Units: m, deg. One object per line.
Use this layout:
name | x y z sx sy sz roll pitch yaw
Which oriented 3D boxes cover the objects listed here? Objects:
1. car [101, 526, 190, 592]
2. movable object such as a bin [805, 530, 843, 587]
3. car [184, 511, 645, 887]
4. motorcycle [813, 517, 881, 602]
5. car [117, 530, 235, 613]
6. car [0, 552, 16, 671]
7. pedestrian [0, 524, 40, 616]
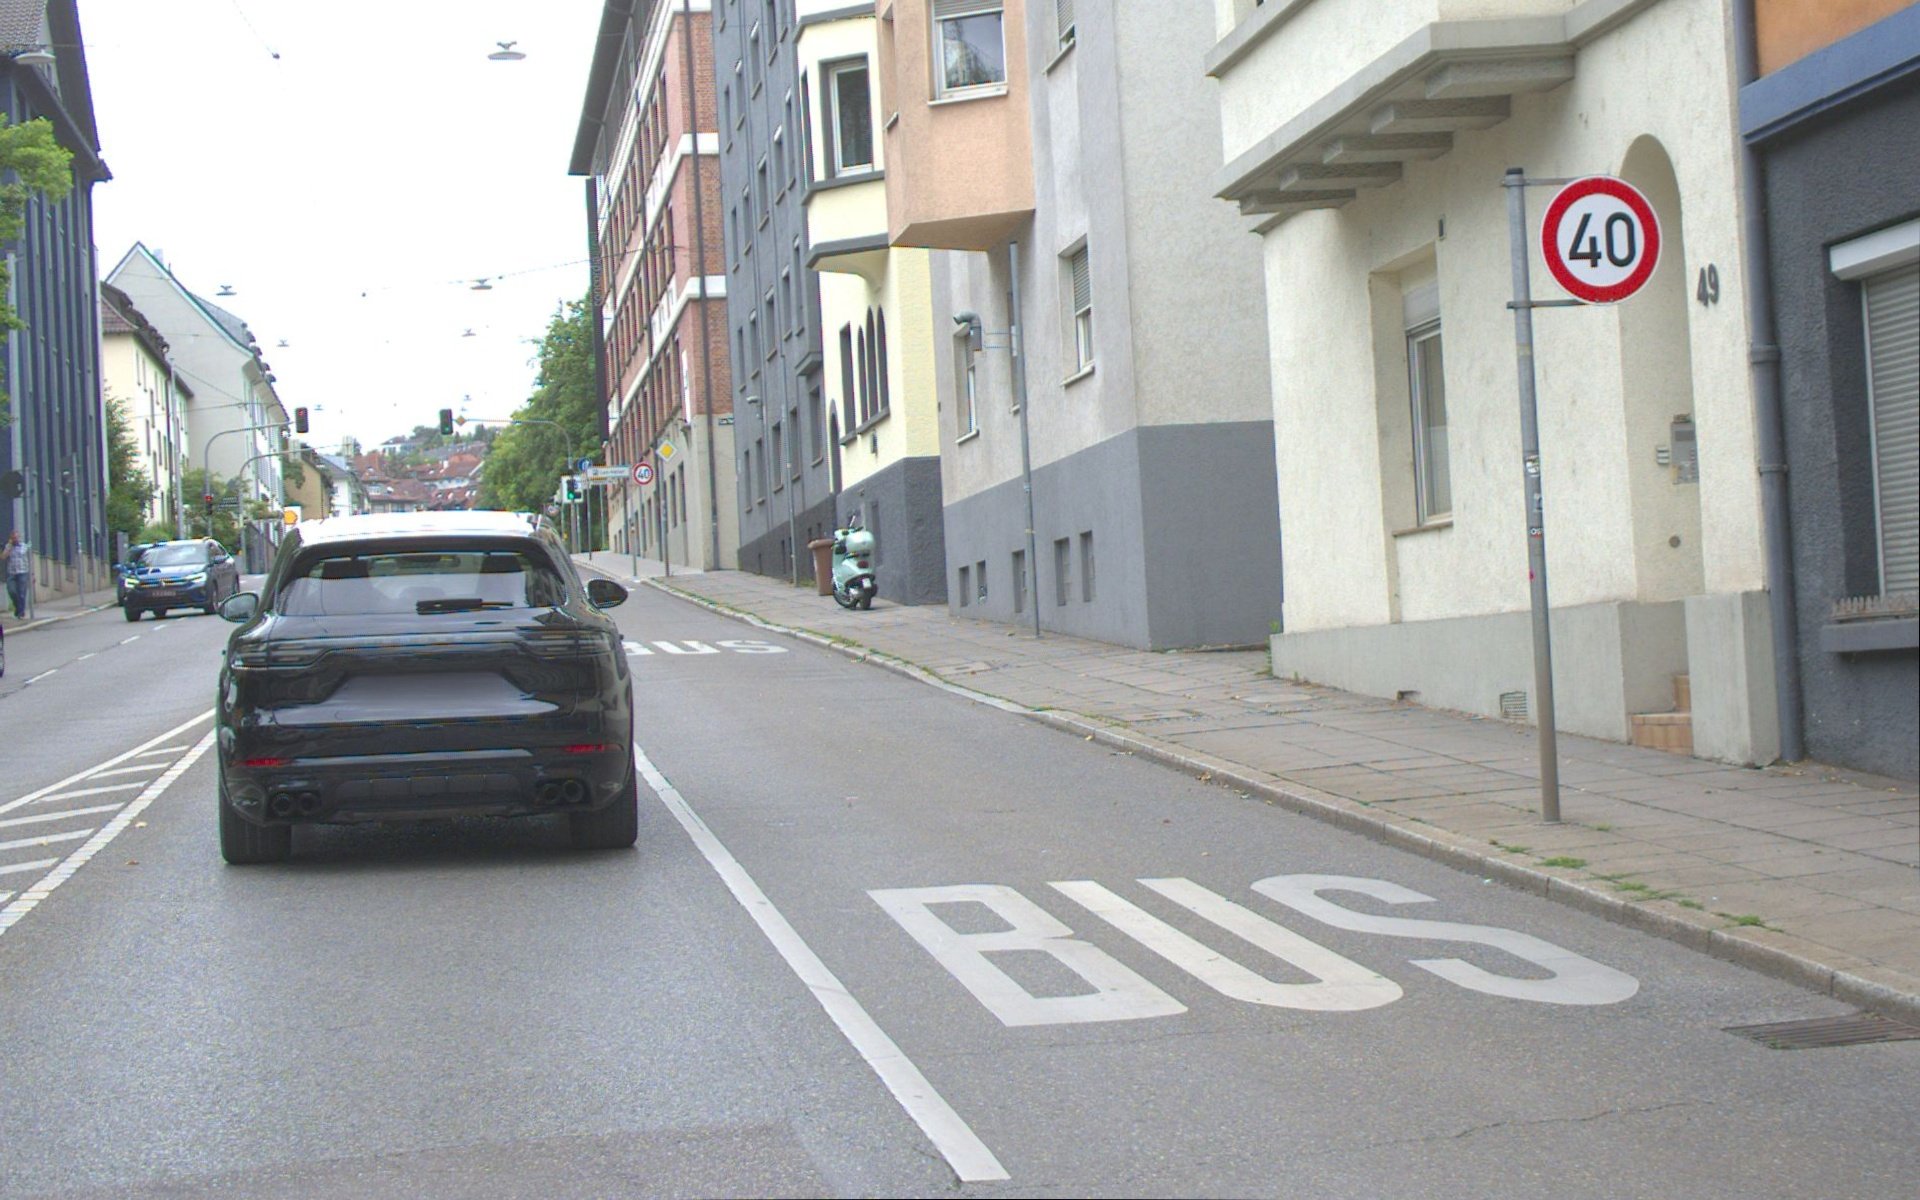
car | -20.243 -1.034 85.531 1.714 1.418 3.990 -5 2 -8
movable object such as a bin | -2.240 -0.679 56.636 0.474 0.889 0.517 -6 2 -9
car | -2.872 0.396 17.669 2.023 1.636 4.357 -1 1 -11
motorcycle | -1.647 -0.599 49.843 0.537 1.152 2.227 -6 2 -11
car | -15.557 -0.598 68.392 1.839 1.443 4.312 -5 2 -8
car | -12.679 0.237 41.515 1.839 1.443 4.312 -5 2 -8
pedestrian | -20.252 -0.651 73.717 0.882 1.943 0.868 -1 2 -9
